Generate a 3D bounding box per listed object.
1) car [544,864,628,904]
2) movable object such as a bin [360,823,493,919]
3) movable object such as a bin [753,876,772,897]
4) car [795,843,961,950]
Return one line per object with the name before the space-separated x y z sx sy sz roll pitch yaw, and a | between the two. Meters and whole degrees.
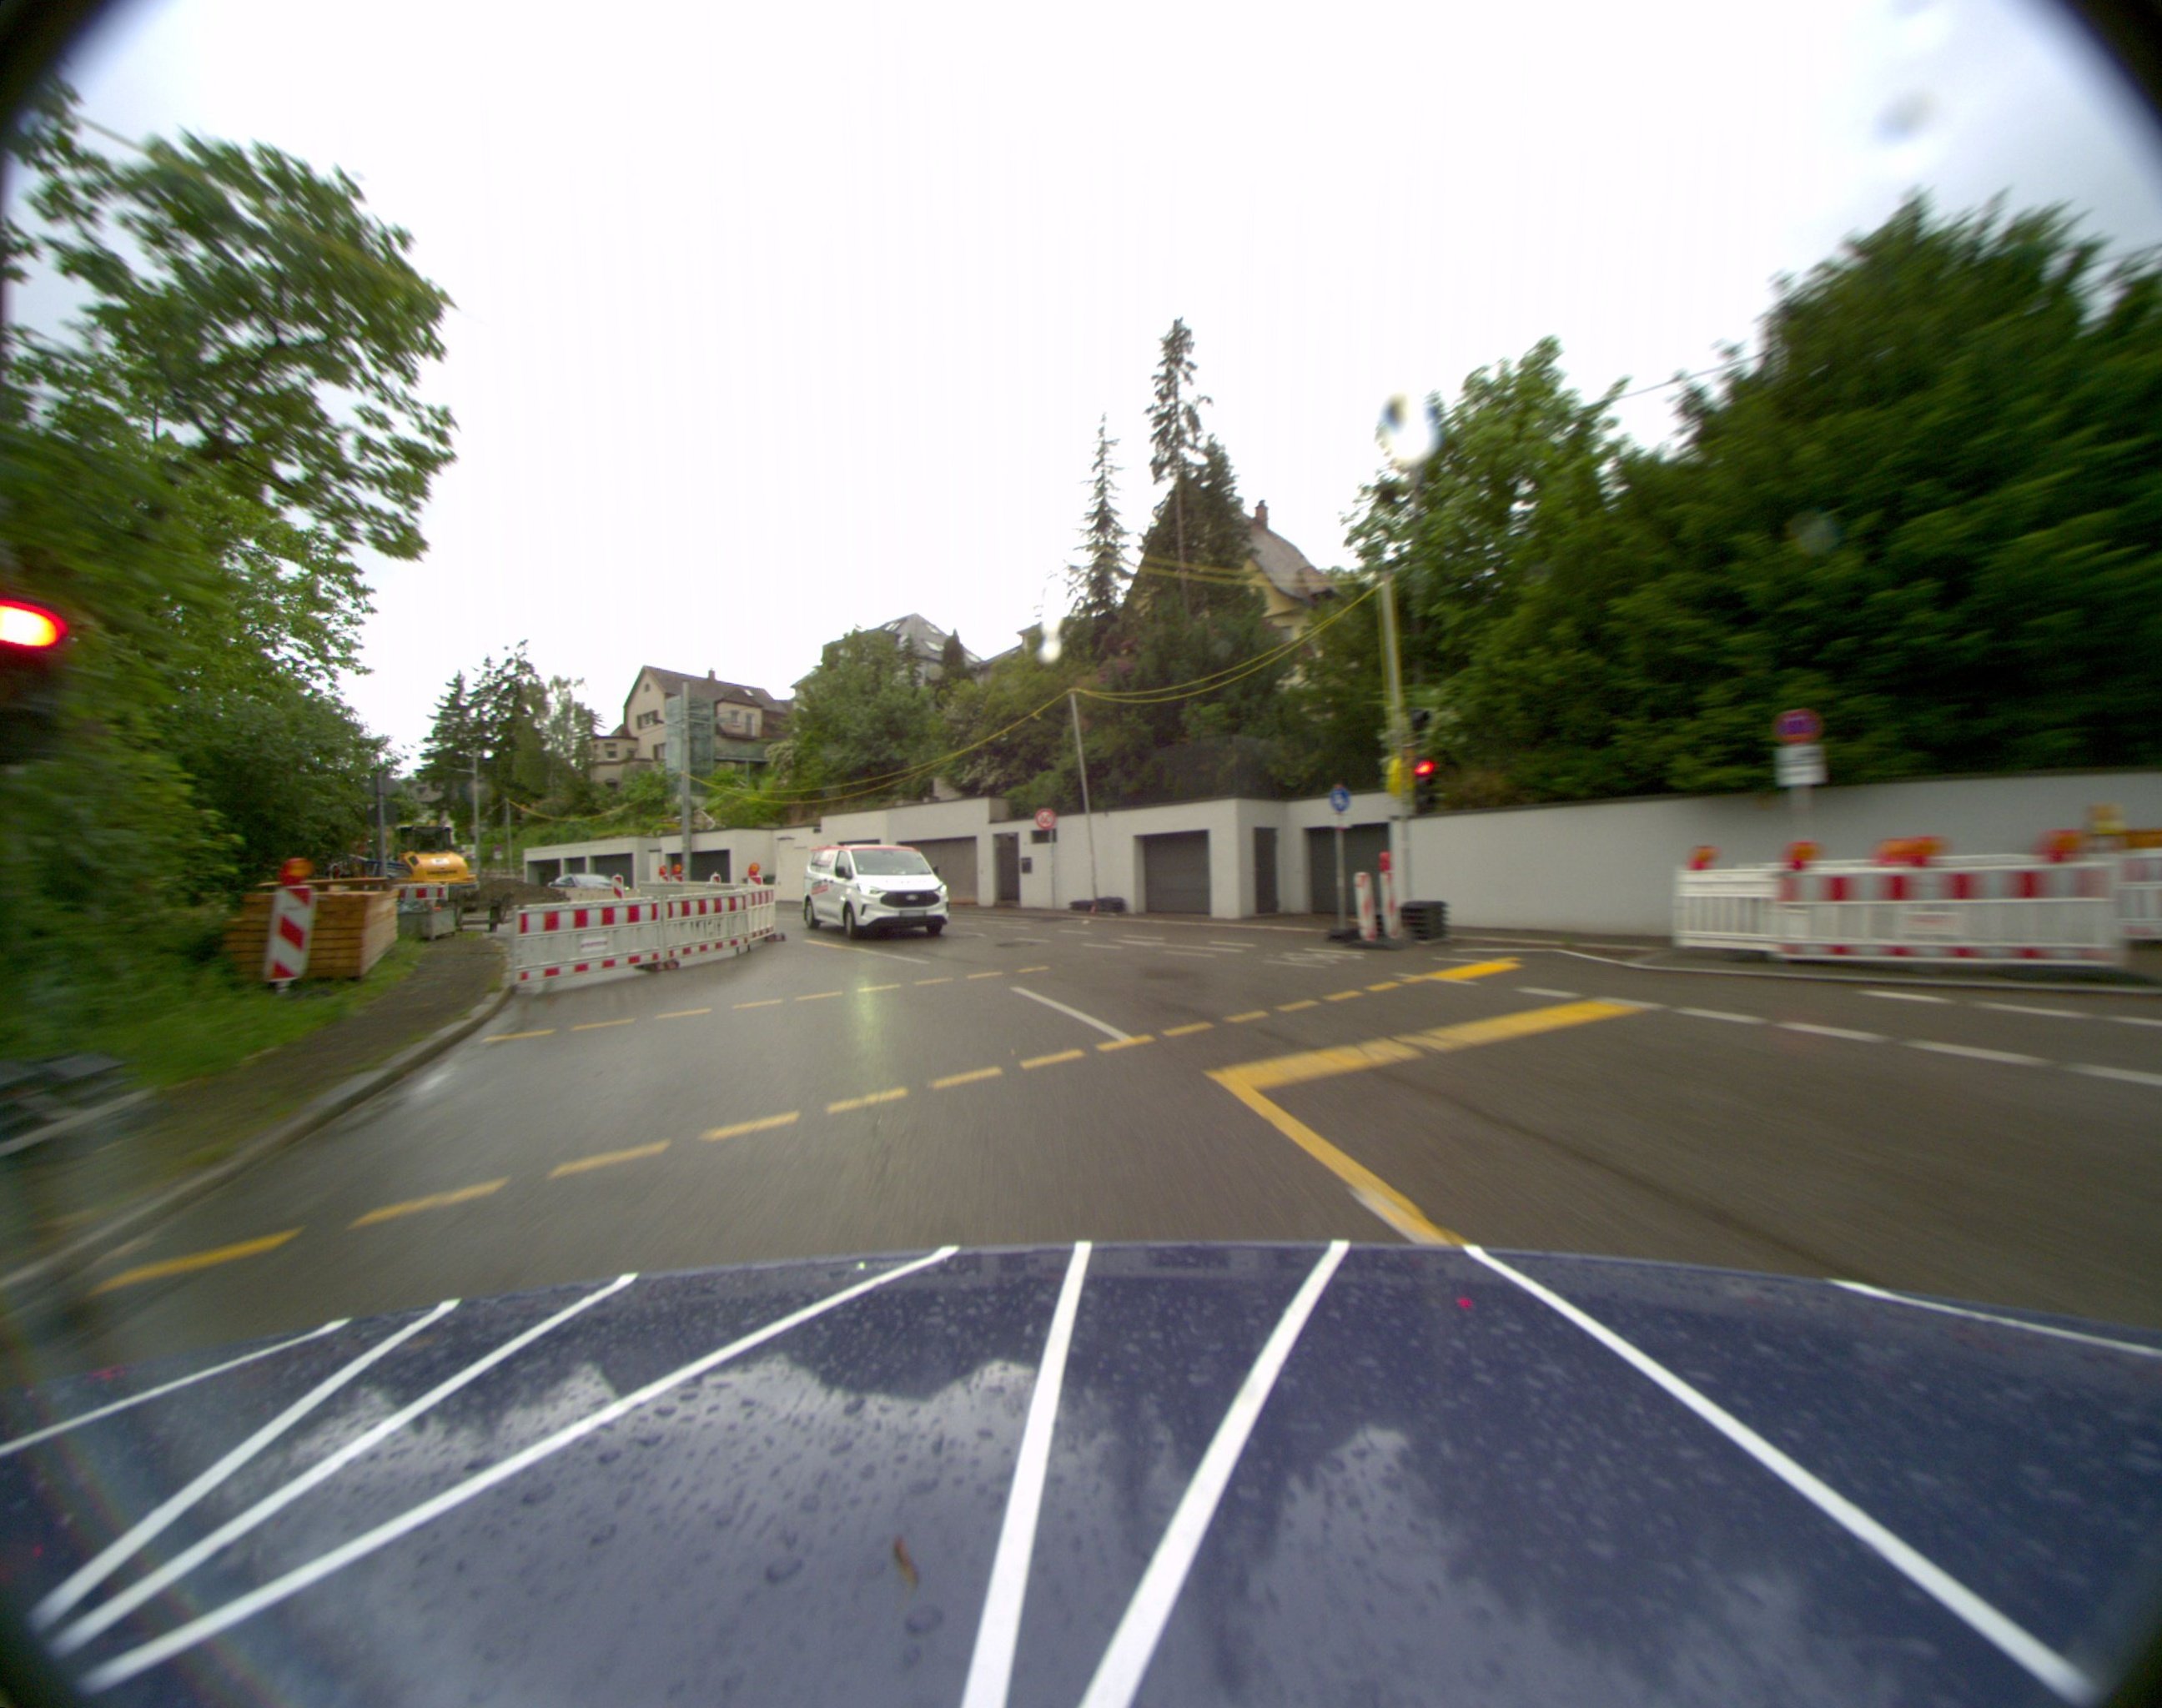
car | -22.184 1.334 33.981 3.989 1.576 2.004 -2 1 40
movable object such as a bin | -22.967 0.543 26.627 4.844 3.049 2.540 0 0 37
movable object such as a bin | -14.339 1.448 34.213 0.766 0.925 0.510 0 1 39
car | -4.717 0.827 17.061 2.003 2.002 4.936 -2 1 -34
